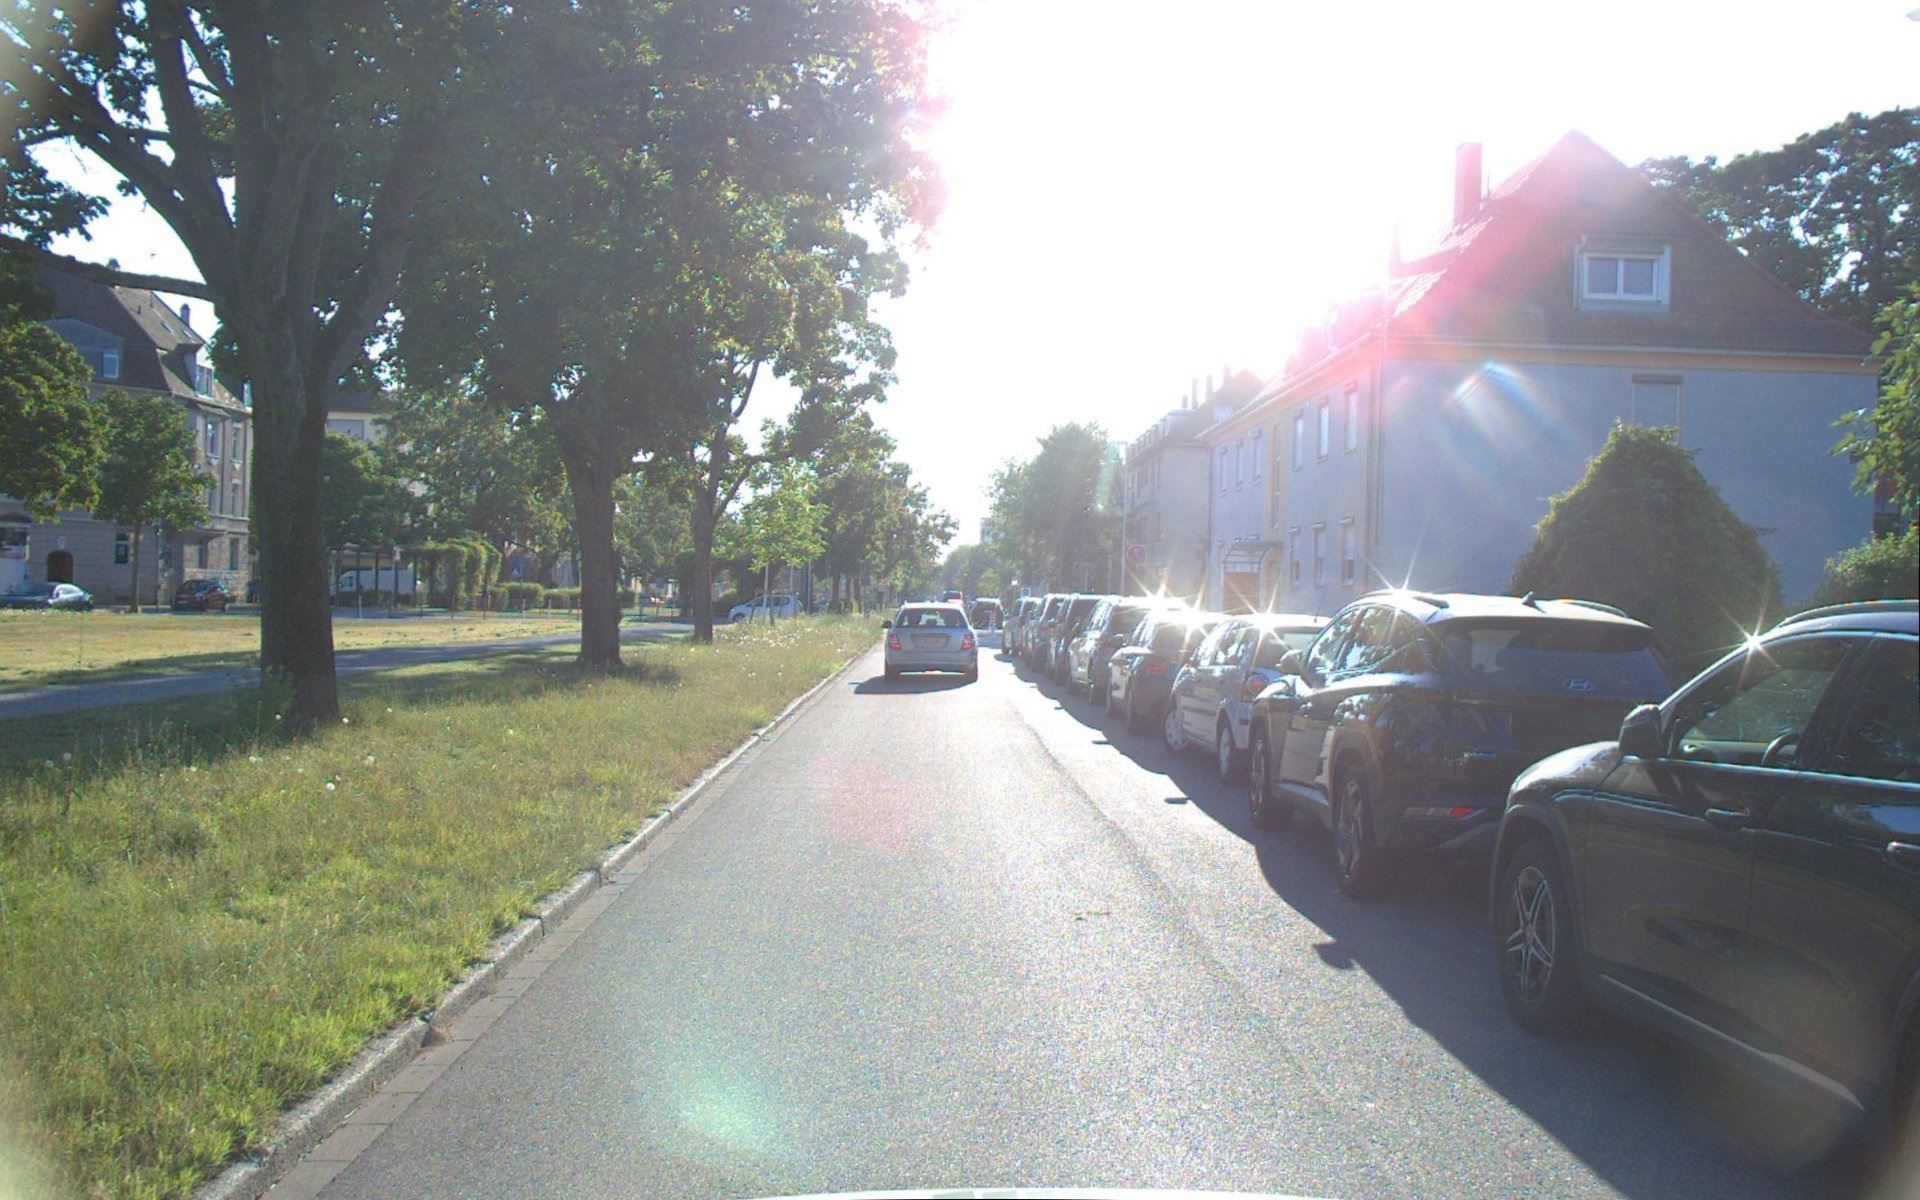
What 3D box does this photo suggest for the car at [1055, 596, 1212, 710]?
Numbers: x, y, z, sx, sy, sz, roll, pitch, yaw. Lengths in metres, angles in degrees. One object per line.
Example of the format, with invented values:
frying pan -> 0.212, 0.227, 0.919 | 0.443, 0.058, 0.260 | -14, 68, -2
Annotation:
car -> 2.617, 0.764, 25.937 | 1.690, 1.588, 4.413 | 2, 0, -4

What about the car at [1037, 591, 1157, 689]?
car -> 2.549, 0.739, 31.748 | 1.730, 1.663, 4.762 | 2, -1, -2

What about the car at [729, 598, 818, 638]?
car -> -8.536, 0.838, 75.968 | 3.815, 1.624, 1.999 | -2, -1, -2

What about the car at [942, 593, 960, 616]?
car -> -0.928, 0.489, 167.479 | 1.823, 2.231, 5.069 | 1, 0, -1

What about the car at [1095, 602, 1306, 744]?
car -> 2.877, 0.814, 20.772 | 1.953, 1.488, 4.561 | 3, 0, 0

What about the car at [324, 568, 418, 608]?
car -> -43.273, -0.884, 121.552 | 6.232, 2.768, 1.981 | 1, 0, -32

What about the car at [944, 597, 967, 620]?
car -> -0.421, 0.757, 149.431 | 1.948, 2.059, 3.999 | 1, 0, -1

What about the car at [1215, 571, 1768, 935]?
car -> 2.939, 0.729, 10.382 | 1.816, 1.686, 4.819 | 2, 0, -1

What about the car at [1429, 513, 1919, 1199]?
car -> 3.079, 0.736, 4.860 | 1.894, 1.750, 4.620 | 4, 0, -1

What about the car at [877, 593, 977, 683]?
car -> -0.608, 0.676, 31.445 | 1.786, 1.594, 4.000 | 0, 0, -1

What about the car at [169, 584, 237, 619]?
car -> -40.125, 0.113, 87.755 | 1.610, 1.737, 4.293 | -2, -1, 0

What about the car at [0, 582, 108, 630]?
car -> -34.422, 0.249, 62.431 | 1.943, 1.665, 4.828 | -2, -1, 0

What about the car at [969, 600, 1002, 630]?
car -> 1.371, 0.835, 91.192 | 1.686, 1.625, 3.999 | 1, -1, -1

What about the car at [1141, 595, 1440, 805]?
car -> 2.977, 0.857, 15.825 | 1.694, 1.575, 4.205 | 6, -1, -3

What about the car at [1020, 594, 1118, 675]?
car -> 2.386, 0.743, 37.181 | 1.741, 1.672, 4.755 | 1, -1, -2

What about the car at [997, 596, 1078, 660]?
car -> 2.155, 0.766, 47.370 | 1.683, 1.667, 4.560 | 3, 0, -5
